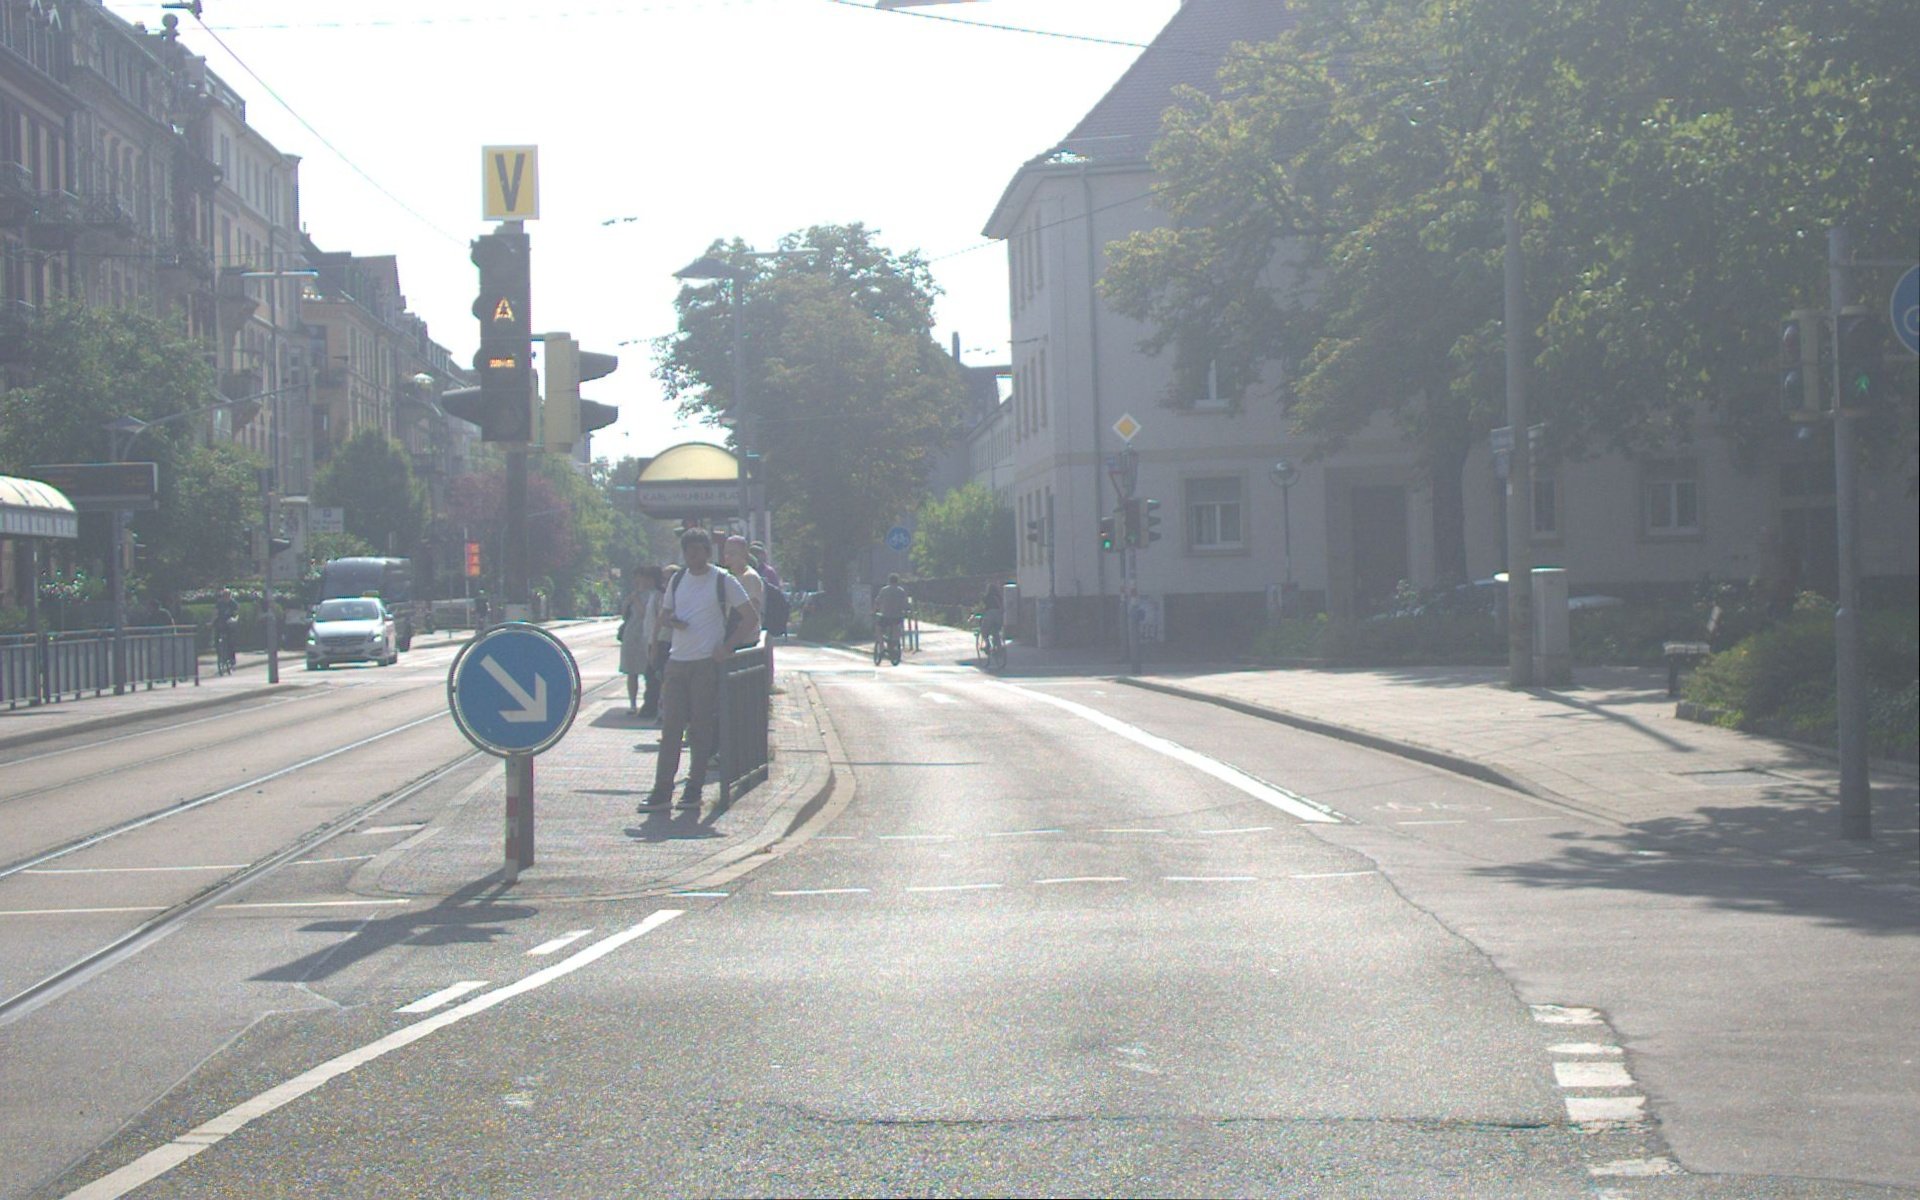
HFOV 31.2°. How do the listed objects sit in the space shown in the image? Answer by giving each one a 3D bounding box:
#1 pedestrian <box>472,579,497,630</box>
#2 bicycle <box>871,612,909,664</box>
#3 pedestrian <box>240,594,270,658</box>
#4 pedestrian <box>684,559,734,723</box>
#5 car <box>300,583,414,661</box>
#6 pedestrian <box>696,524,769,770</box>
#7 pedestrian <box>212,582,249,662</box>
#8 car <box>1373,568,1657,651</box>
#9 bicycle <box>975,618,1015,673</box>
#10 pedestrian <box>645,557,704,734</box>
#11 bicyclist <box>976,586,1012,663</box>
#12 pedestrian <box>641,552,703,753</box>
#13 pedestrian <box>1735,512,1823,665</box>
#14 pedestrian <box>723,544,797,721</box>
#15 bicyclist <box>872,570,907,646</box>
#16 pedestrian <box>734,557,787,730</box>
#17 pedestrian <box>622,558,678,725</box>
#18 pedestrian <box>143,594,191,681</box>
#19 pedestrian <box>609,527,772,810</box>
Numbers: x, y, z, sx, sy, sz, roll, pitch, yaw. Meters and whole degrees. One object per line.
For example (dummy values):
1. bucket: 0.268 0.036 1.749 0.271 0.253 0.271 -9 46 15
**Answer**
1. pedestrian: -16.130 0.152 116.519 0.750 1.725 0.772 -1 0 -11
2. bicycle: -1.402 0.752 68.523 0.629 0.974 1.770 -2 1 -4
3. pedestrian: -19.235 0.699 93.761 0.750 1.725 0.772 -1 0 -11
4. pedestrian: -2.741 0.444 37.555 0.504 1.753 0.534 1 3 -2
5. car: -13.509 0.477 77.177 1.801 1.648 3.642 -1 0 1
6. pedestrian: -1.724 0.348 26.060 0.504 1.827 0.534 1 3 -2
7. pedestrian: -16.077 0.484 75.774 0.750 1.725 0.772 -1 0 -11
8. car: 9.462 0.166 58.751 4.331 1.316 1.996 -1 0 37
9. bicycle: 0.649 0.844 64.262 0.558 0.974 1.856 -2 1 -4
10. pedestrian: -2.885 0.457 34.742 0.543 1.753 0.534 1 3 -2
11. bicyclist: 0.631 0.447 64.274 0.558 1.412 0.872 -2 0 -4
12. pedestrian: -2.576 0.461 30.740 0.504 1.753 0.534 1 3 -2
13. pedestrian: 9.485 -0.132 39.800 0.892 1.734 0.775 -1 0 17
14. pedestrian: -2.030 0.323 34.955 0.709 1.753 0.534 1 3 -2
15. bicyclist: -1.412 0.156 68.517 0.629 1.502 0.678 -2 0 -4
16. pedestrian: -2.066 0.447 35.573 0.504 1.753 0.534 1 3 -2
17. pedestrian: -3.329 0.445 36.957 0.532 1.753 0.545 1 3 -1
18. pedestrian: -16.106 0.758 69.848 0.750 1.725 0.771 -1 0 0
19. pedestrian: -1.708 0.415 21.792 0.701 1.719 0.747 3 3 31
